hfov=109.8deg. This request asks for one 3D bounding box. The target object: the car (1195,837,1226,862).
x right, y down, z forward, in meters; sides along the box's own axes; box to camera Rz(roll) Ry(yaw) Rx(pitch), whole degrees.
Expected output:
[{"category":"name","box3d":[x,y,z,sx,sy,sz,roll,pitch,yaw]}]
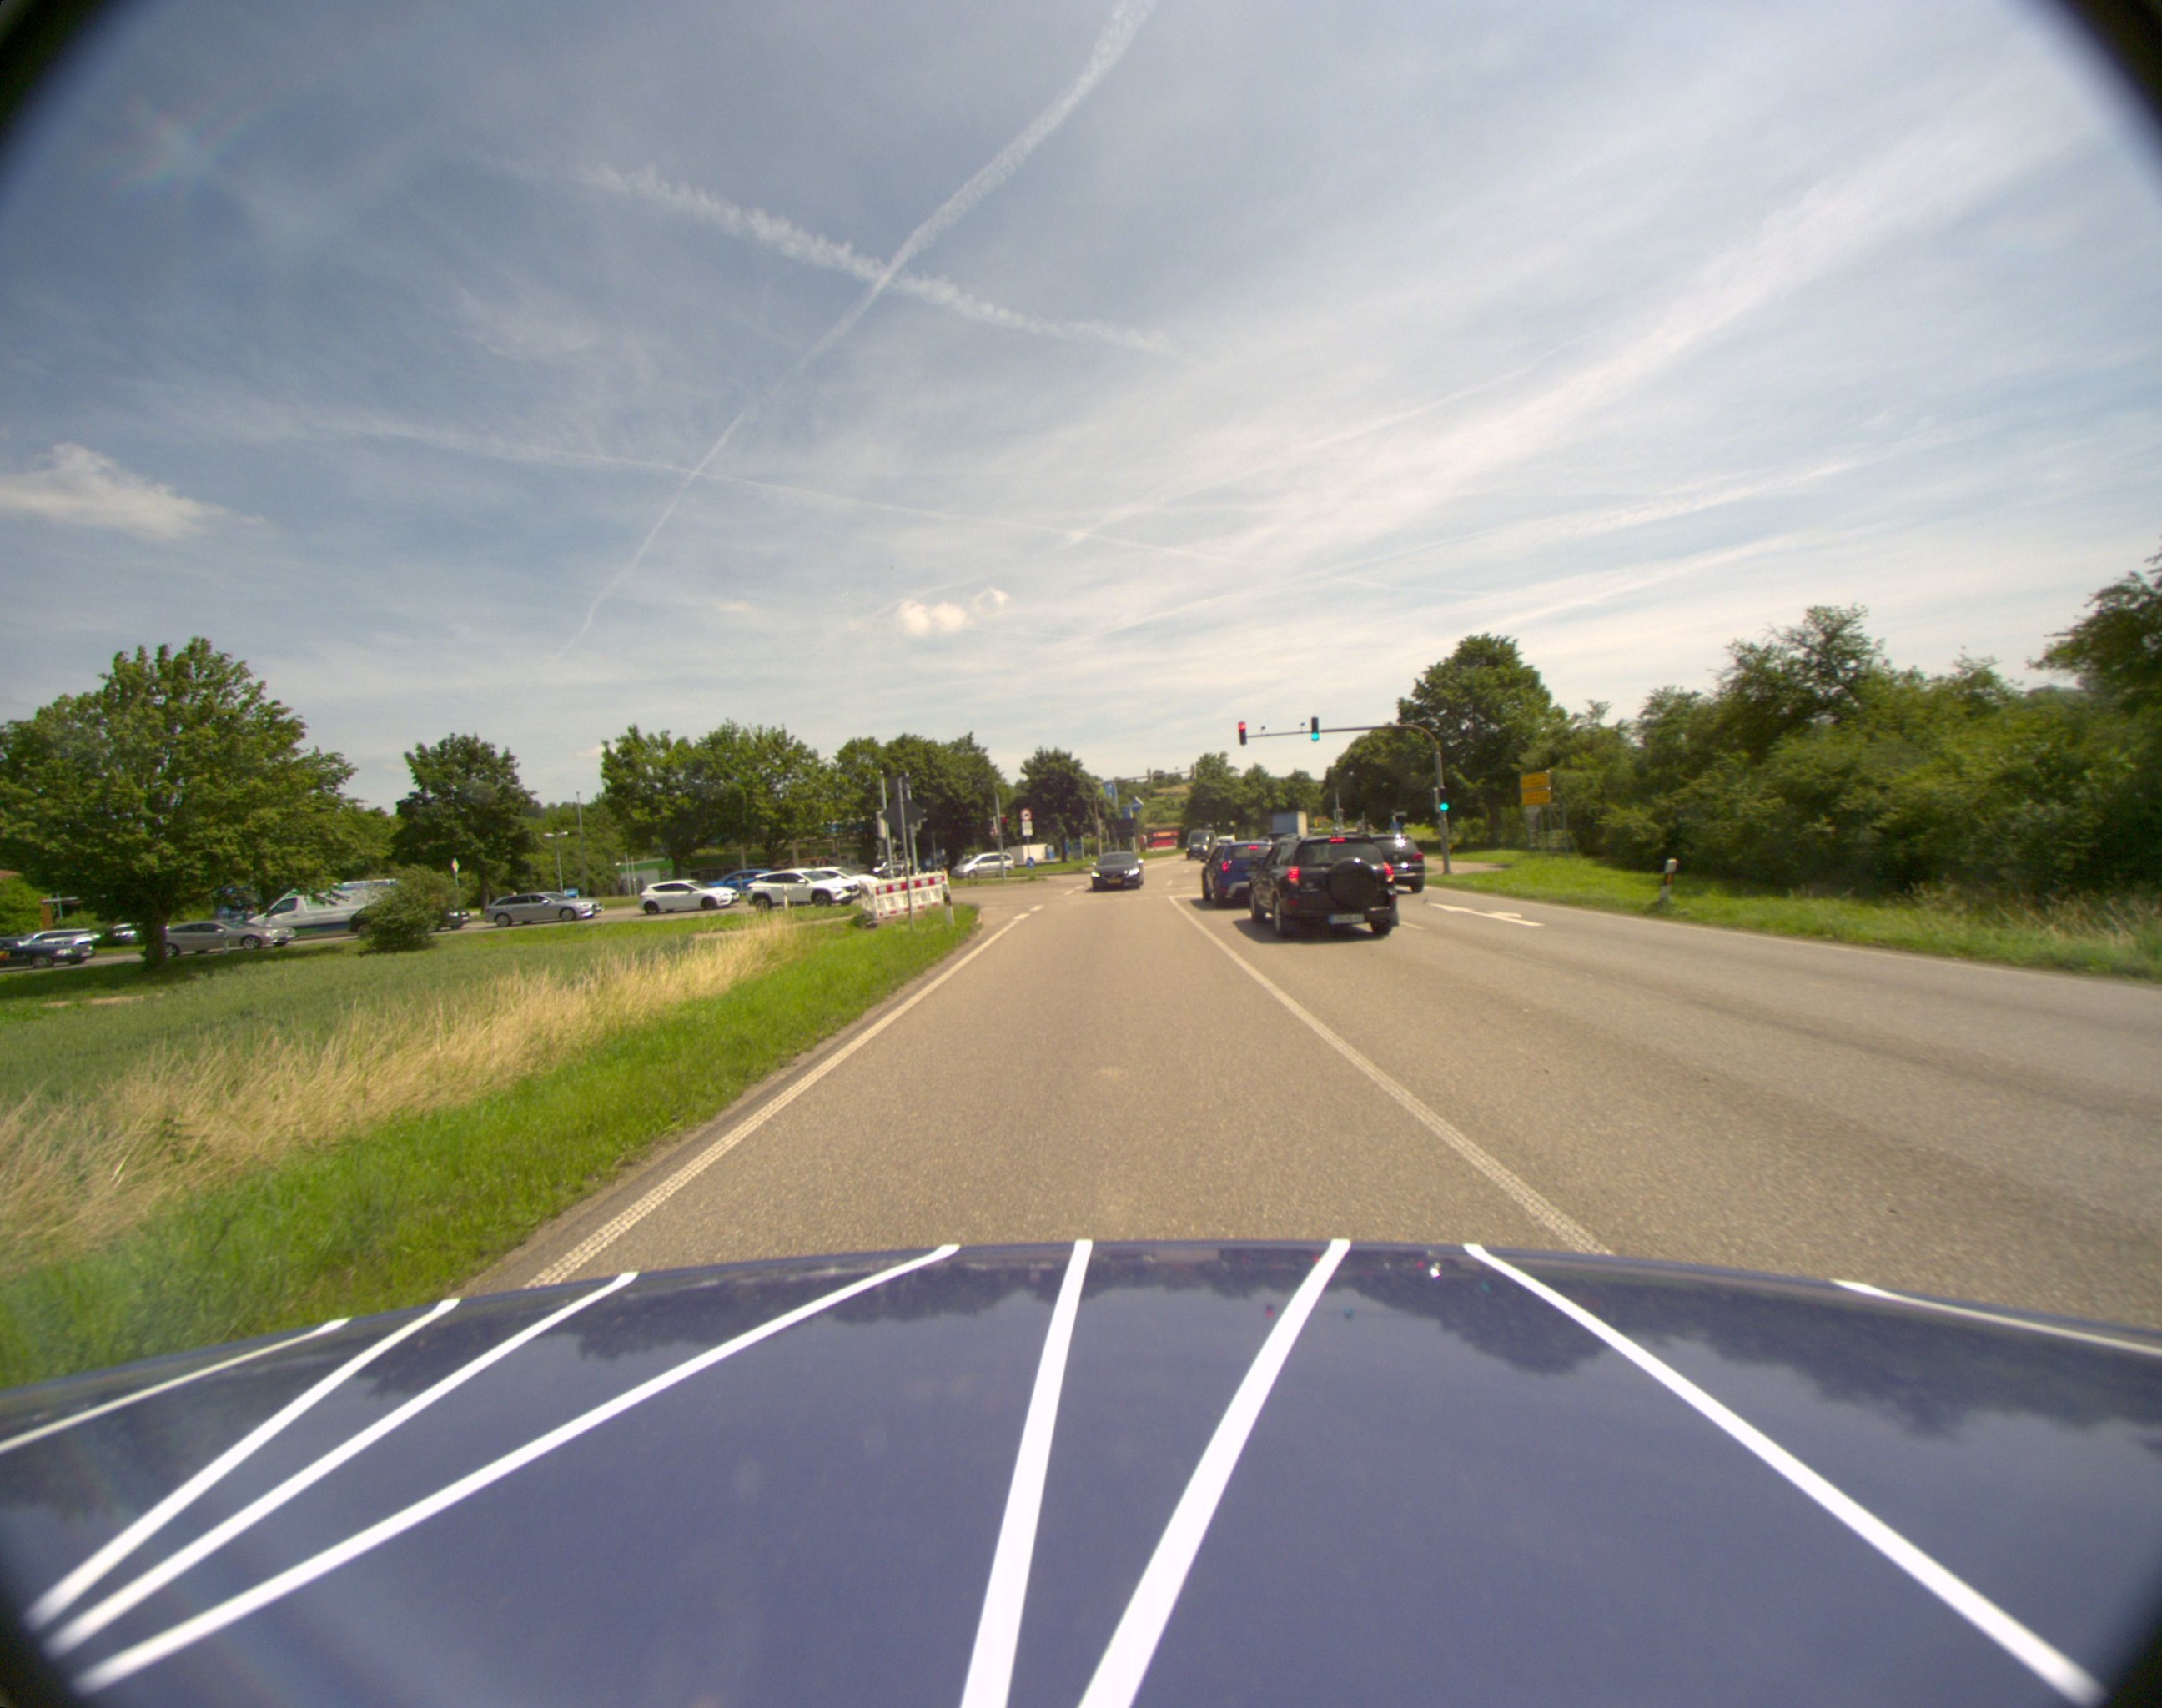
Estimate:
[{"category":"car","box3d":[10.349,-0.371,60.396,1.807,1.723,4.003,-3,2,18]}]

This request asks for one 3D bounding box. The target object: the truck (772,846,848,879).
[{"category":"truck","box3d":[-25.191,0.770,70.895,2.257,2.603,6.159,-3,2,39]}]

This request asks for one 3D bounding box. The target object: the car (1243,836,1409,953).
[{"category":"car","box3d":[4.042,0.562,13.211,1.775,1.649,4.000,-3,1,4]}]

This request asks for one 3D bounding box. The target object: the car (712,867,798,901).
[{"category":"car","box3d":[-18.940,1.729,44.152,4.392,1.549,1.781,-5,1,-25]}]

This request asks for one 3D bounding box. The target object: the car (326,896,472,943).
[{"category":"car","box3d":[-30.809,2.943,34.476,4.561,1.502,1.799,-5,2,-9]}]

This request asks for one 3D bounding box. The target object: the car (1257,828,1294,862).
[{"category":"car","box3d":[12.631,-0.625,49.652,1.997,1.994,5.167,-3,1,12]}]

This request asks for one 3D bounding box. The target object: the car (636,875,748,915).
[{"category":"car","box3d":[-17.871,1.872,35.017,4.103,1.411,1.800,-4,2,0]}]

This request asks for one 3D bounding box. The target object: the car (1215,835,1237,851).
[{"category":"car","box3d":[15.733,-1.256,82.376,1.781,1.485,4.161,-3,2,18]}]

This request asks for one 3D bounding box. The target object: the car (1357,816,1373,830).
[{"category":"car","box3d":[52.362,-5.715,140.076,2.052,2.438,5.276,-2,2,27]}]

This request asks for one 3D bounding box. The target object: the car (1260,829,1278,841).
[{"category":"car","box3d":[27.905,-2.833,112.772,1.806,1.722,4.006,-3,0,23]}]

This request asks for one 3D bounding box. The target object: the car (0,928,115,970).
[{"category":"car","box3d":[-43.418,3.991,30.994,4.565,1.266,1.797,-5,3,-22]}]

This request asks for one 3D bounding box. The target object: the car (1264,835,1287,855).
[{"category":"car","box3d":[16.058,-0.755,62.841,1.774,1.487,4.003,-2,1,13]}]

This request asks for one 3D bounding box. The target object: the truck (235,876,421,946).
[{"category":"truck","box3d":[-36.638,2.695,37.224,5.948,2.722,2.069,-4,2,-22]}]

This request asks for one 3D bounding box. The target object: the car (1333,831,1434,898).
[{"category":"car","box3d":[8.585,0.226,21.910,1.997,1.686,4.002,-2,2,12]}]

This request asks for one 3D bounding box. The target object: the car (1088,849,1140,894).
[{"category":"car","box3d":[1.279,0.630,29.598,1.783,1.484,4.158,-4,0,2]}]

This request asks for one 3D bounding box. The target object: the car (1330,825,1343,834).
[{"category":"car","box3d":[51.317,-4.952,152.609,1.806,1.722,4.007,-3,0,30]}]

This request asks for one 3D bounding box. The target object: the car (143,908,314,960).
[{"category":"car","box3d":[-36.639,3.409,32.809,4.564,1.502,1.798,-5,2,-16]}]

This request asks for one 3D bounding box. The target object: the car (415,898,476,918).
[{"category":"car","box3d":[-59.211,5.020,70.850,3.842,1.372,1.726,-5,1,-14]}]

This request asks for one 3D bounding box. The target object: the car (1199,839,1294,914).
[{"category":"car","box3d":[4.132,0.481,19.528,1.775,1.649,4.000,-3,1,4]}]

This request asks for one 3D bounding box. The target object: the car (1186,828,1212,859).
[{"category":"car","box3d":[10.648,-1.006,68.357,1.979,2.505,4.159,-3,2,13]}]

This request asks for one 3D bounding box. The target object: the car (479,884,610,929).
[{"category":"car","box3d":[-24.699,2.374,35.098,4.560,1.502,1.799,-5,2,-4]}]

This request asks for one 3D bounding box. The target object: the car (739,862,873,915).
[{"category":"car","box3d":[-11.085,1.383,30.734,4.633,1.599,1.999,-4,3,13]}]

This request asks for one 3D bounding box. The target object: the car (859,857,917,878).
[{"category":"car","box3d":[-18.411,1.287,72.652,2.033,1.594,4.948,-2,3,41]}]

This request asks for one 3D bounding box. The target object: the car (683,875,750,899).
[{"category":"car","box3d":[-28.197,2.544,58.857,4.327,1.355,1.755,-6,3,-36]}]

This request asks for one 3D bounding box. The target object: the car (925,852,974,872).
[{"category":"car","box3d":[-13.590,0.807,78.617,1.994,1.613,4.637,-2,3,41]}]

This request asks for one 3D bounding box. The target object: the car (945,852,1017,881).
[{"category":"car","box3d":[-6.822,0.842,52.251,4.534,1.682,1.862,-4,2,-39]}]

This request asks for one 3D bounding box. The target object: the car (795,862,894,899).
[{"category":"car","box3d":[-10.926,1.205,35.152,3.965,1.411,1.829,-3,3,17]}]

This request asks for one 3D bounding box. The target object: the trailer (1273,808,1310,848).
[{"category":"trailer","box3d":[23.895,-2.870,85.697,2.569,4.007,13.611,-2,1,21]}]

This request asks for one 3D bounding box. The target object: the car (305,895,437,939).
[{"category":"car","box3d":[-36.922,3.260,39.657,4.530,1.683,1.863,-5,3,-22]}]

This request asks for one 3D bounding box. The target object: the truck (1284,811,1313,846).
[{"category":"truck","box3d":[26.539,-3.085,92.541,2.569,4.007,6.568,-2,1,21]}]
